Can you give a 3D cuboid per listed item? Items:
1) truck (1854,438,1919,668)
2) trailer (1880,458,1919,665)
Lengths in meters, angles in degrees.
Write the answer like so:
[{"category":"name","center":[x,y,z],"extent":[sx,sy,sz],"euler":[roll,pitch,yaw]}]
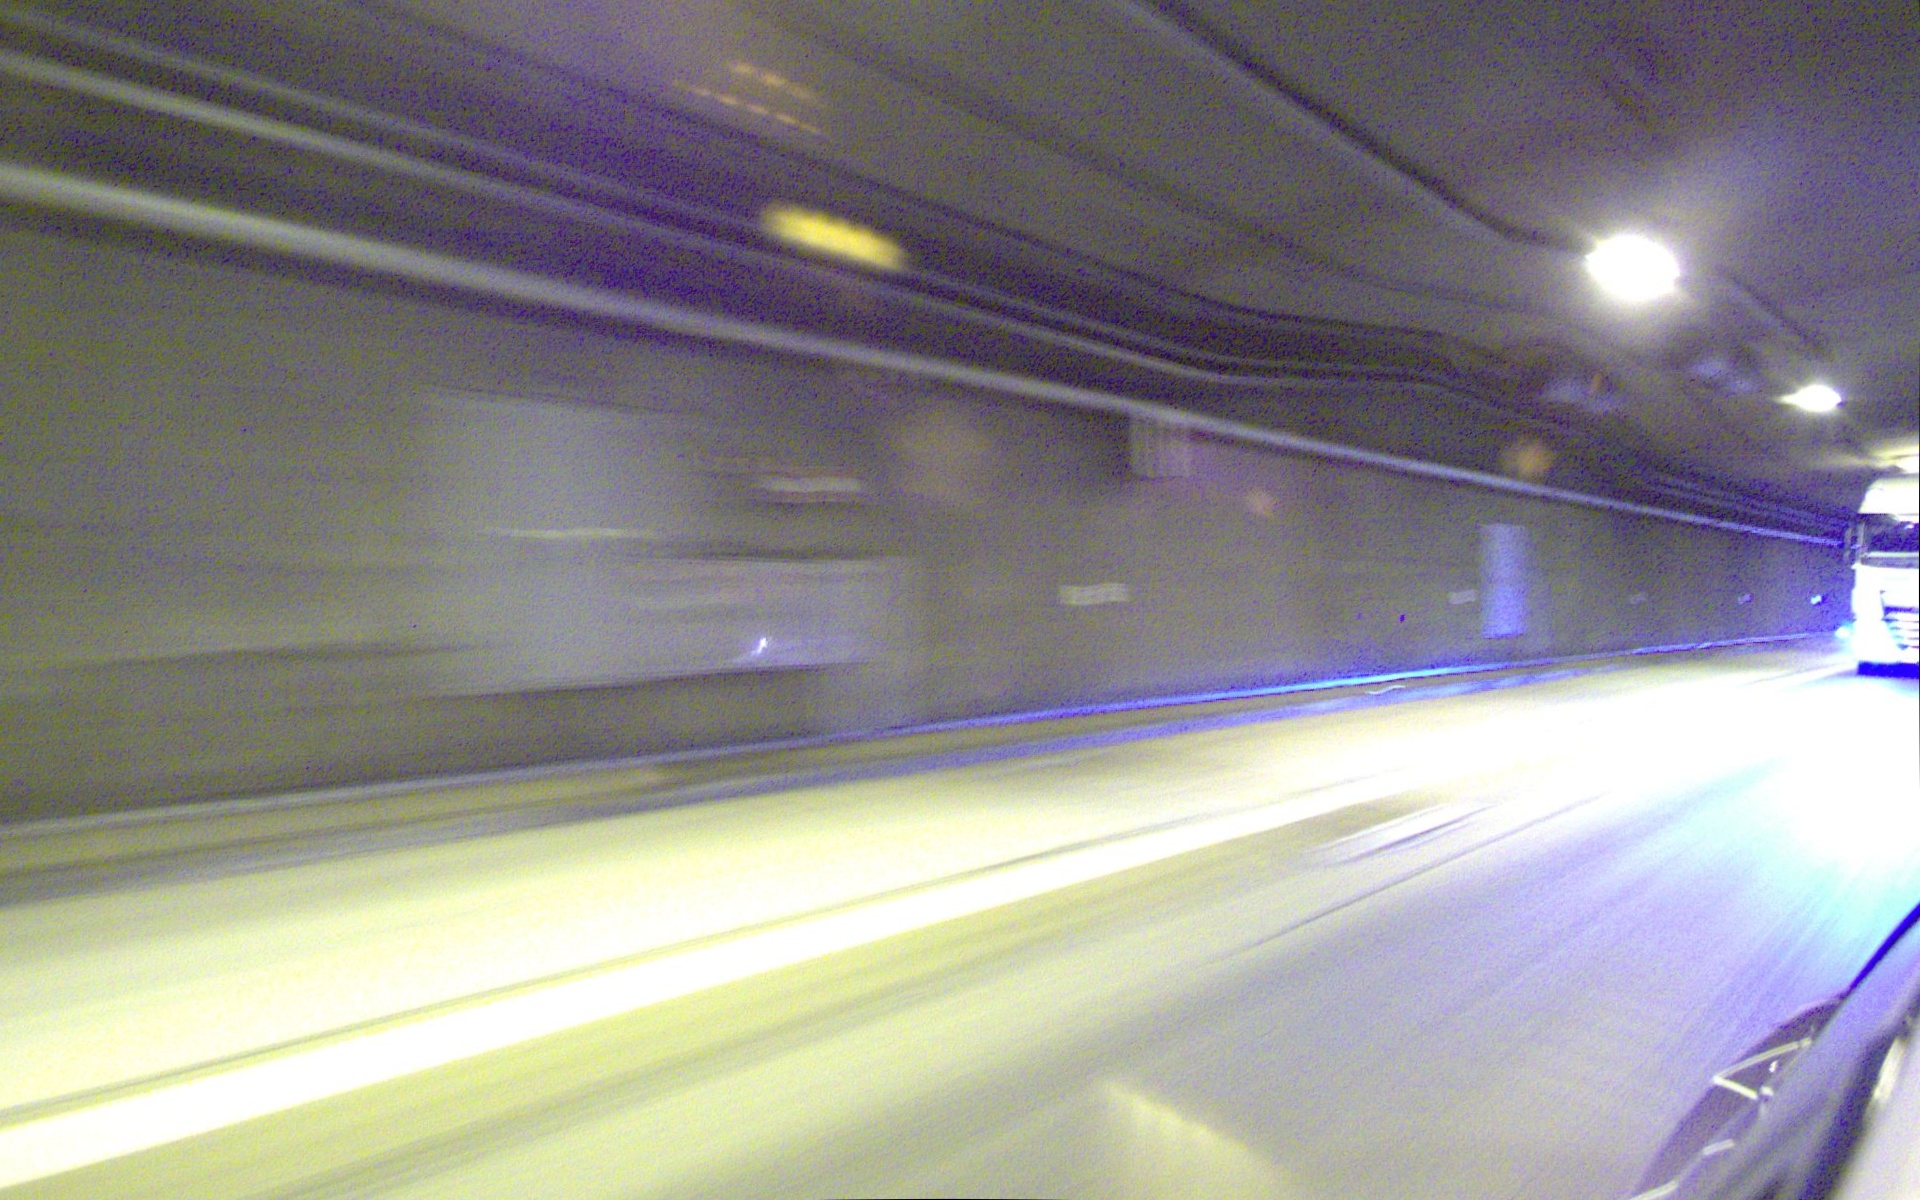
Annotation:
[{"category":"truck","center":[20.184,-0.887,20.181],"extent":[5.898,4.216,2.651],"euler":[0,0,-40]},{"category":"trailer","center":[25.216,-0.827,24.380],"extent":[13.752,4.216,2.625],"euler":[0,-1,-40]}]
